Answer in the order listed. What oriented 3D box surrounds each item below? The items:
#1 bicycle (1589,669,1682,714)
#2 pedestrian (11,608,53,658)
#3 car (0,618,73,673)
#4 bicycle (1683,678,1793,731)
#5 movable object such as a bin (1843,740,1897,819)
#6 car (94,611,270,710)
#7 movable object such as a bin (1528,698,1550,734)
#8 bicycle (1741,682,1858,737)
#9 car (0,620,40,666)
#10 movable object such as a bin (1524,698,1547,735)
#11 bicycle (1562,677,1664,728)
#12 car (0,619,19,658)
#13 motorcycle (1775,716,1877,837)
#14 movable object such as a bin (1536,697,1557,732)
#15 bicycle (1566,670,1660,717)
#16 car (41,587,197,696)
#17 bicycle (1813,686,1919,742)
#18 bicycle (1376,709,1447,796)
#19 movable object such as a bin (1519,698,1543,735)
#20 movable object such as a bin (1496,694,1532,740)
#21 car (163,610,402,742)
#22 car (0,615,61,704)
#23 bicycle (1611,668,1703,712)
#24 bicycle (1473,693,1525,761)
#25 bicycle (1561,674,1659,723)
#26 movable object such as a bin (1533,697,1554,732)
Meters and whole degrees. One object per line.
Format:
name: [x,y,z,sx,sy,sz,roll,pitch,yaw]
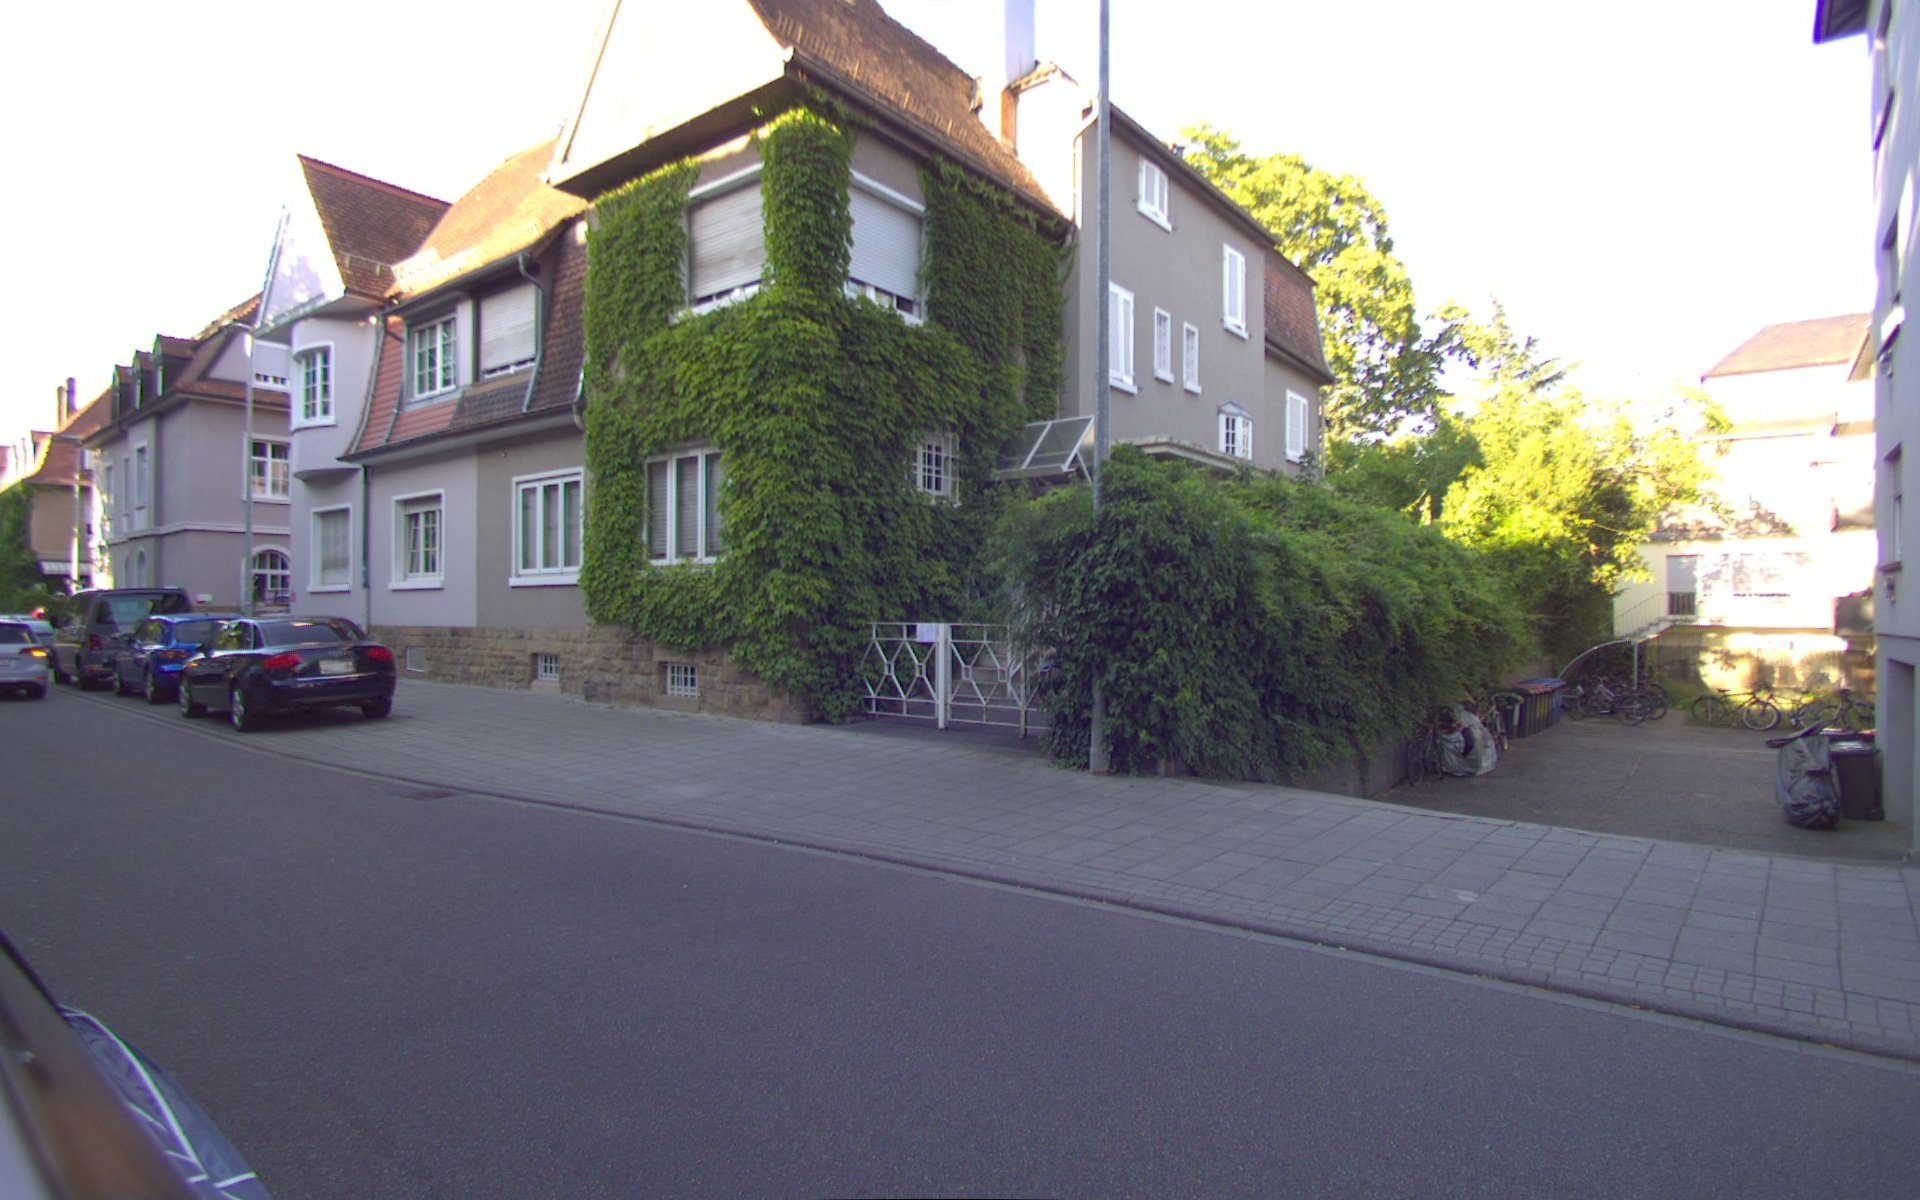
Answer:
bicycle: [18.619,2.507,27.934,2.068,1.028,0.608,1,3,41]
pedestrian: [-38.627,1.396,42.132,0.931,2.029,1.172,-2,-4,45]
car: [-26.551,1.241,28.516,4.331,1.381,1.698,-1,1,40]
bicycle: [18.719,2.505,24.388,2.068,1.028,0.634,1,3,41]
movable object such as a bin: [11.764,2.305,13.094,0.432,0.894,0.717,-1,-3,37]
car: [-13.747,0.972,17.805,4.021,1.475,1.591,0,2,40]
movable object such as a bin: [13.025,2.601,22.760,0.375,0.764,0.359,-1,-4,41]
bicycle: [19.582,2.525,23.646,2.068,1.028,0.634,1,3,41]
car: [-30.553,1.345,32.077,3.942,1.381,1.522,-1,0,40]
movable object such as a bin: [12.773,2.576,22.459,0.381,0.779,0.359,-1,-4,41]
bicycle: [16.277,2.537,25.254,2.068,1.028,0.634,1,3,41]
car: [-36.493,1.449,37.646,3.942,1.381,1.698,-1,0,40]
motorcycle: [10.744,2.145,12.608,0.757,1.261,1.575,-1,-3,34]
movable object such as a bin: [13.539,2.643,23.350,0.367,0.764,0.359,-1,-4,41]
bicycle: [17.702,2.519,27.468,2.068,1.028,0.608,1,3,41]
car: [-17.469,0.778,20.952,4.308,1.987,1.698,0,2,40]
bicycle: [20.556,2.552,22.781,2.068,1.028,0.634,1,3,41]
bicycle: [6.783,2.238,15.147,0.514,1.027,1.914,1,0,38]
movable object such as a bin: [12.504,2.544,22.156,0.398,0.779,0.359,-1,-4,41]
movable object such as a bin: [11.546,2.427,21.090,0.576,0.886,0.488,0,-3,41]
car: [-9.317,0.907,13.805,4.023,1.439,1.729,0,2,42]
car: [-17.736,1.027,18.002,4.293,1.473,1.764,-2,-4,37]
bicycle: [19.421,2.497,28.238,2.068,1.028,0.561,1,3,41]
bicycle: [9.960,2.317,18.667,0.514,1.027,1.914,1,0,38]
bicycle: [16.842,2.530,26.265,2.068,1.028,0.565,1,3,41]
movable object such as a bin: [13.288,2.612,23.054,0.367,0.764,0.359,-1,-4,41]
